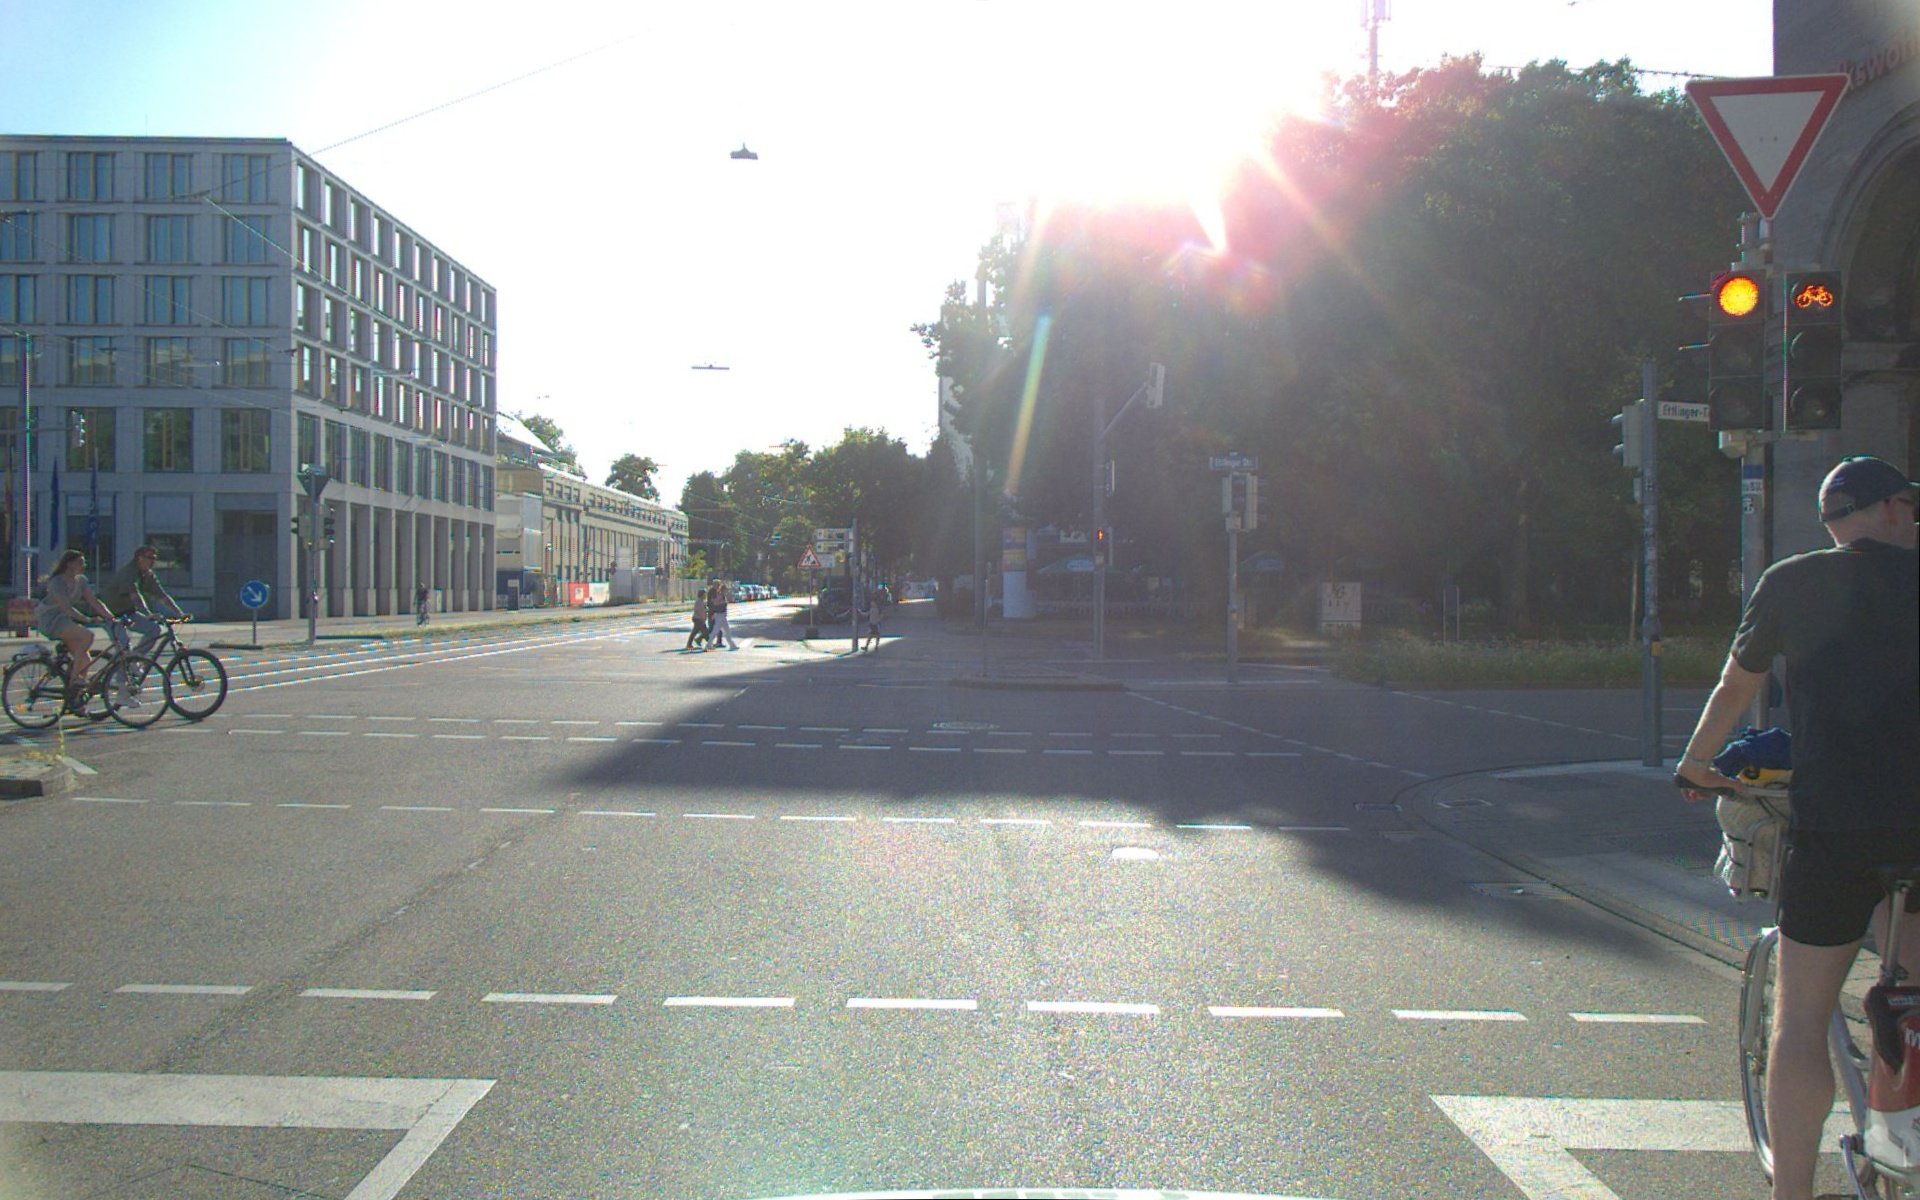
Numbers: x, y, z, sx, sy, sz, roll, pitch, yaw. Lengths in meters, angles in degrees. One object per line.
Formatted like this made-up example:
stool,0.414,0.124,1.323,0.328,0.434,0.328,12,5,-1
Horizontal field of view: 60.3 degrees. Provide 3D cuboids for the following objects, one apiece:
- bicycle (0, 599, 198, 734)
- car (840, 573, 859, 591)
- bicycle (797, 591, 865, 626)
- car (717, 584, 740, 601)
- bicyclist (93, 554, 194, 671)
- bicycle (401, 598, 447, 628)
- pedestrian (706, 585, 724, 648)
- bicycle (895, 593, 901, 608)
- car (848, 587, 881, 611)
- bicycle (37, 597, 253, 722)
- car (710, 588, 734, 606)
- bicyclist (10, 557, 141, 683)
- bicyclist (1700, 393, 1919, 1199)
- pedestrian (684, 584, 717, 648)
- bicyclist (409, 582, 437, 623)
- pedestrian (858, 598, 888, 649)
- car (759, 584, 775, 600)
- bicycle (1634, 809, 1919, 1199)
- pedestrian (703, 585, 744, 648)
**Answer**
bicycle,-8.772,0.652,16.663,1.814,1.314,0.791,0,0,-4
car,-12.983,-2.149,194.162,1.953,2.049,3.999,0,0,-1
bicycle,-5.230,0.337,67.055,2.688,1.391,0.631,1,-1,10
car,-22.386,-0.722,159.793,1.695,1.682,3.999,0,0,-1
bicyclist,-8.872,0.132,17.999,0.706,1.240,0.797,0,0,-2
bicycle,-21.641,0.511,66.787,0.857,1.140,3.013,0,0,0
pedestrian,-6.639,0.442,44.903,0.432,1.692,0.376,0,0,-2
bicycle,-3.715,0.038,98.936,0.317,0.883,1.483,0,0,-1
car,-5.232,-0.048,90.858,1.783,1.301,3.998,0,0,-3
bicycle,-8.833,0.631,17.987,1.945,1.314,0.791,0,0,-3
car,-22.398,-0.263,155.598,1.695,1.682,3.999,0,0,-1
bicyclist,-8.885,0.193,16.652,0.906,1.240,0.796,0,0,-4
bicyclist,2.114,0.426,3.715,0.655,1.707,0.657,0,0,7
pedestrian,-6.825,0.423,43.529,0.779,1.668,0.533,0,0,2
bicyclist,-21.632,0.098,66.600,0.857,1.670,0.822,0,0,0
pedestrian,-2.325,0.634,44.379,0.737,1.356,0.742,0,0,0
car,-22.645,-0.961,193.887,1.453,1.780,3.999,0,0,-1
bicycle,2.087,1.091,3.975,0.381,0.921,1.952,0,0,8
pedestrian,-6.169,0.430,43.183,0.964,1.615,0.660,0,-1,1
